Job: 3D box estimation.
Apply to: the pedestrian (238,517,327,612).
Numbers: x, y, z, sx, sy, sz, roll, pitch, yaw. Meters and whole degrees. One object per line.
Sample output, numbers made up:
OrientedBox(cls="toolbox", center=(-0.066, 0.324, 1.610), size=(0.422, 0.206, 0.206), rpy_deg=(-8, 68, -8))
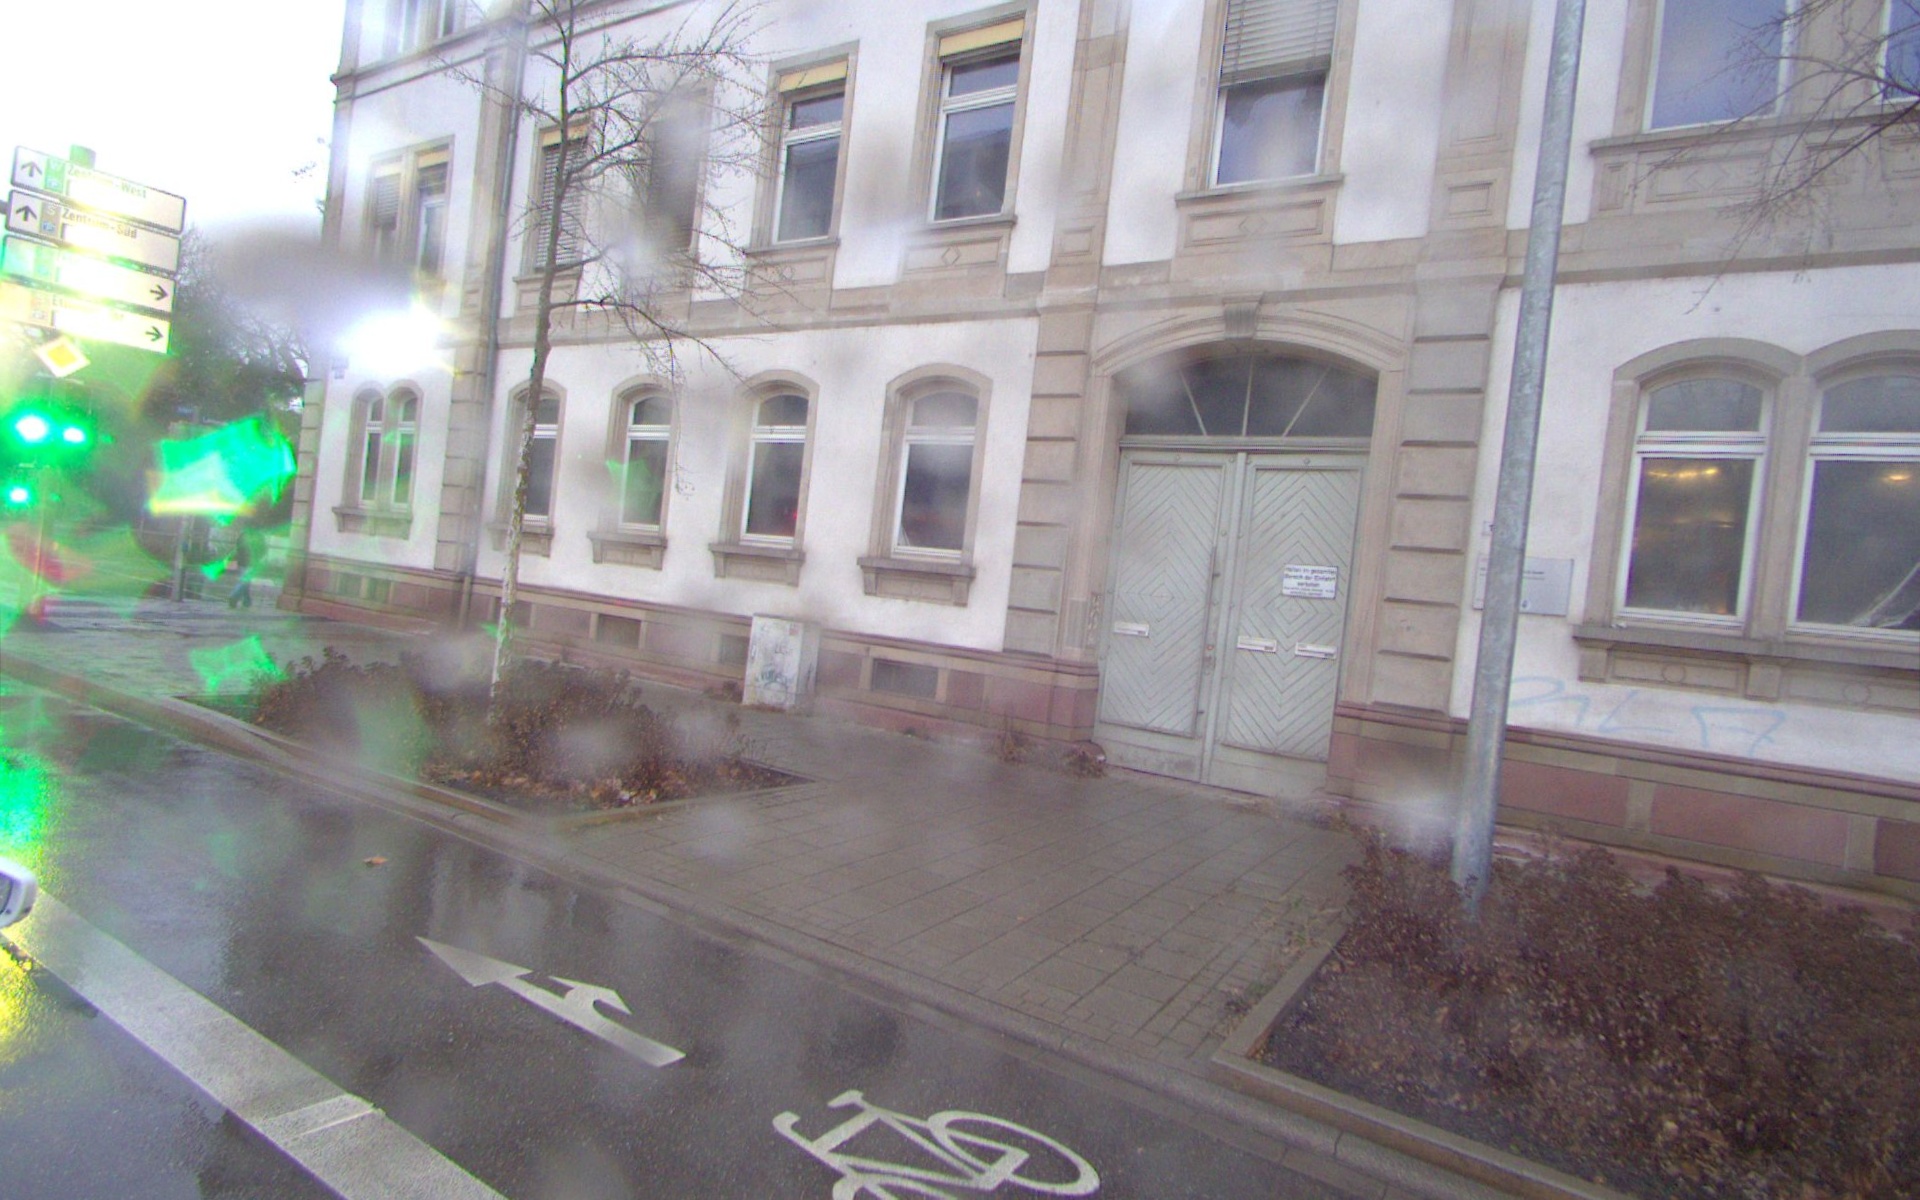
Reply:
OrientedBox(cls="pedestrian", center=(-13.122, -0.671, 19.512), size=(0.769, 1.651, 1.012), rpy_deg=(7, -1, 13))

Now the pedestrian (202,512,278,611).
OrientedBox(cls="pedestrian", center=(-12.656, -0.666, 17.719), size=(0.775, 1.597, 1.005), rpy_deg=(8, -1, -27))
